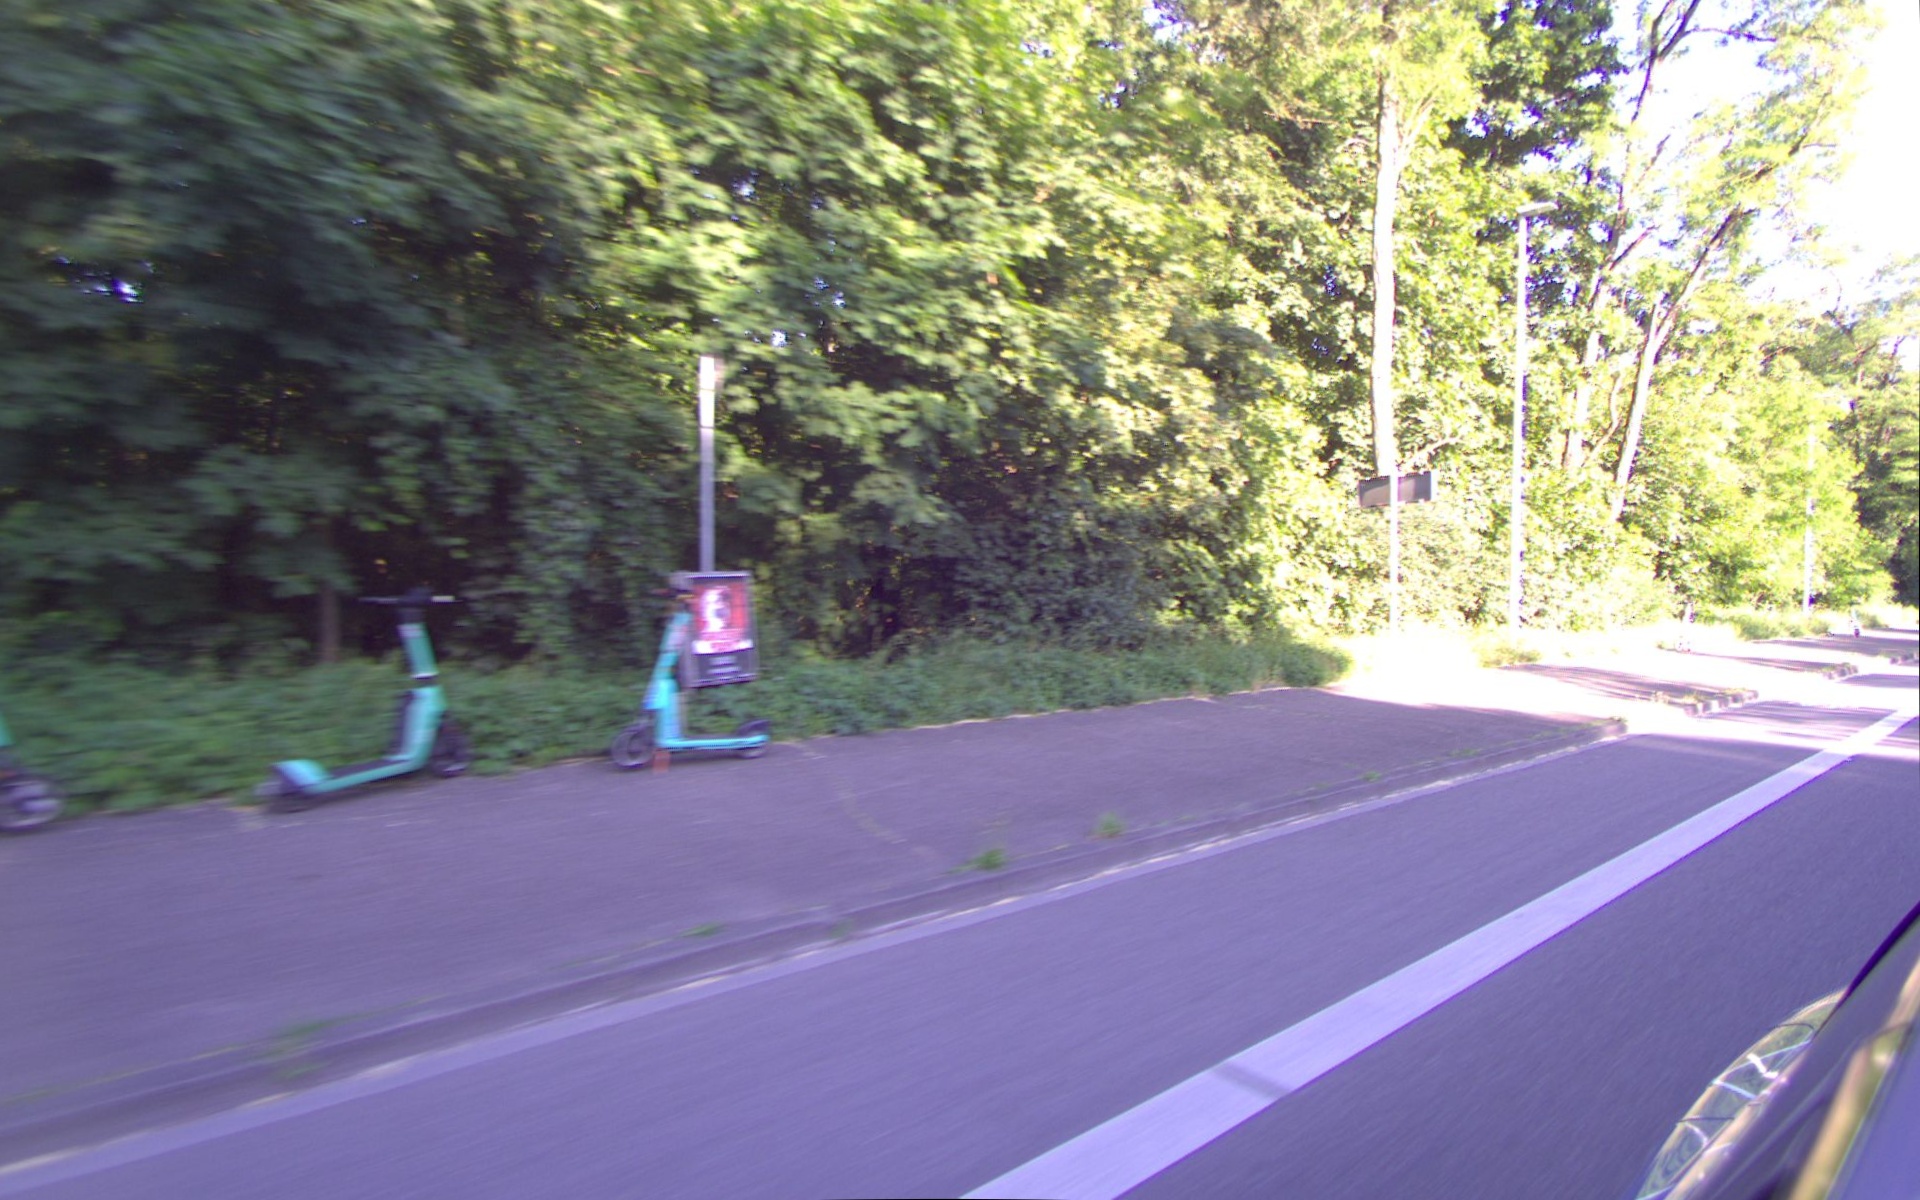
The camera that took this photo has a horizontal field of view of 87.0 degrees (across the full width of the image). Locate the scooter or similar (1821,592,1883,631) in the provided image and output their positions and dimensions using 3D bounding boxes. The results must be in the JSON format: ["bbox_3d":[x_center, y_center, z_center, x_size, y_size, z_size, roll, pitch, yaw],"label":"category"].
[{"bbox_3d":[30.811,0.396,34.959,1.515,1.265,0.534,2,1,7],"label":"scooter or similar"}]

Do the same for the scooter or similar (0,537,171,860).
[{"bbox_3d":[-4.671,0.430,4.544,0.680,1.441,1.660,2,2,35],"label":"scooter or similar"}]

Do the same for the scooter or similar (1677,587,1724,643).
[{"bbox_3d":[17.355,0.336,23.714,1.514,1.265,0.534,0,2,-41],"label":"scooter or similar"}]

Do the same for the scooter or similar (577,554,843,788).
[{"bbox_3d":[-1.703,0.427,7.045,1.652,1.441,0.683,0,2,-41],"label":"scooter or similar"}]

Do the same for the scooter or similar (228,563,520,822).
[{"bbox_3d":[-3.377,0.459,5.962,0.463,1.322,1.467,2,2,27],"label":"scooter or similar"}]
